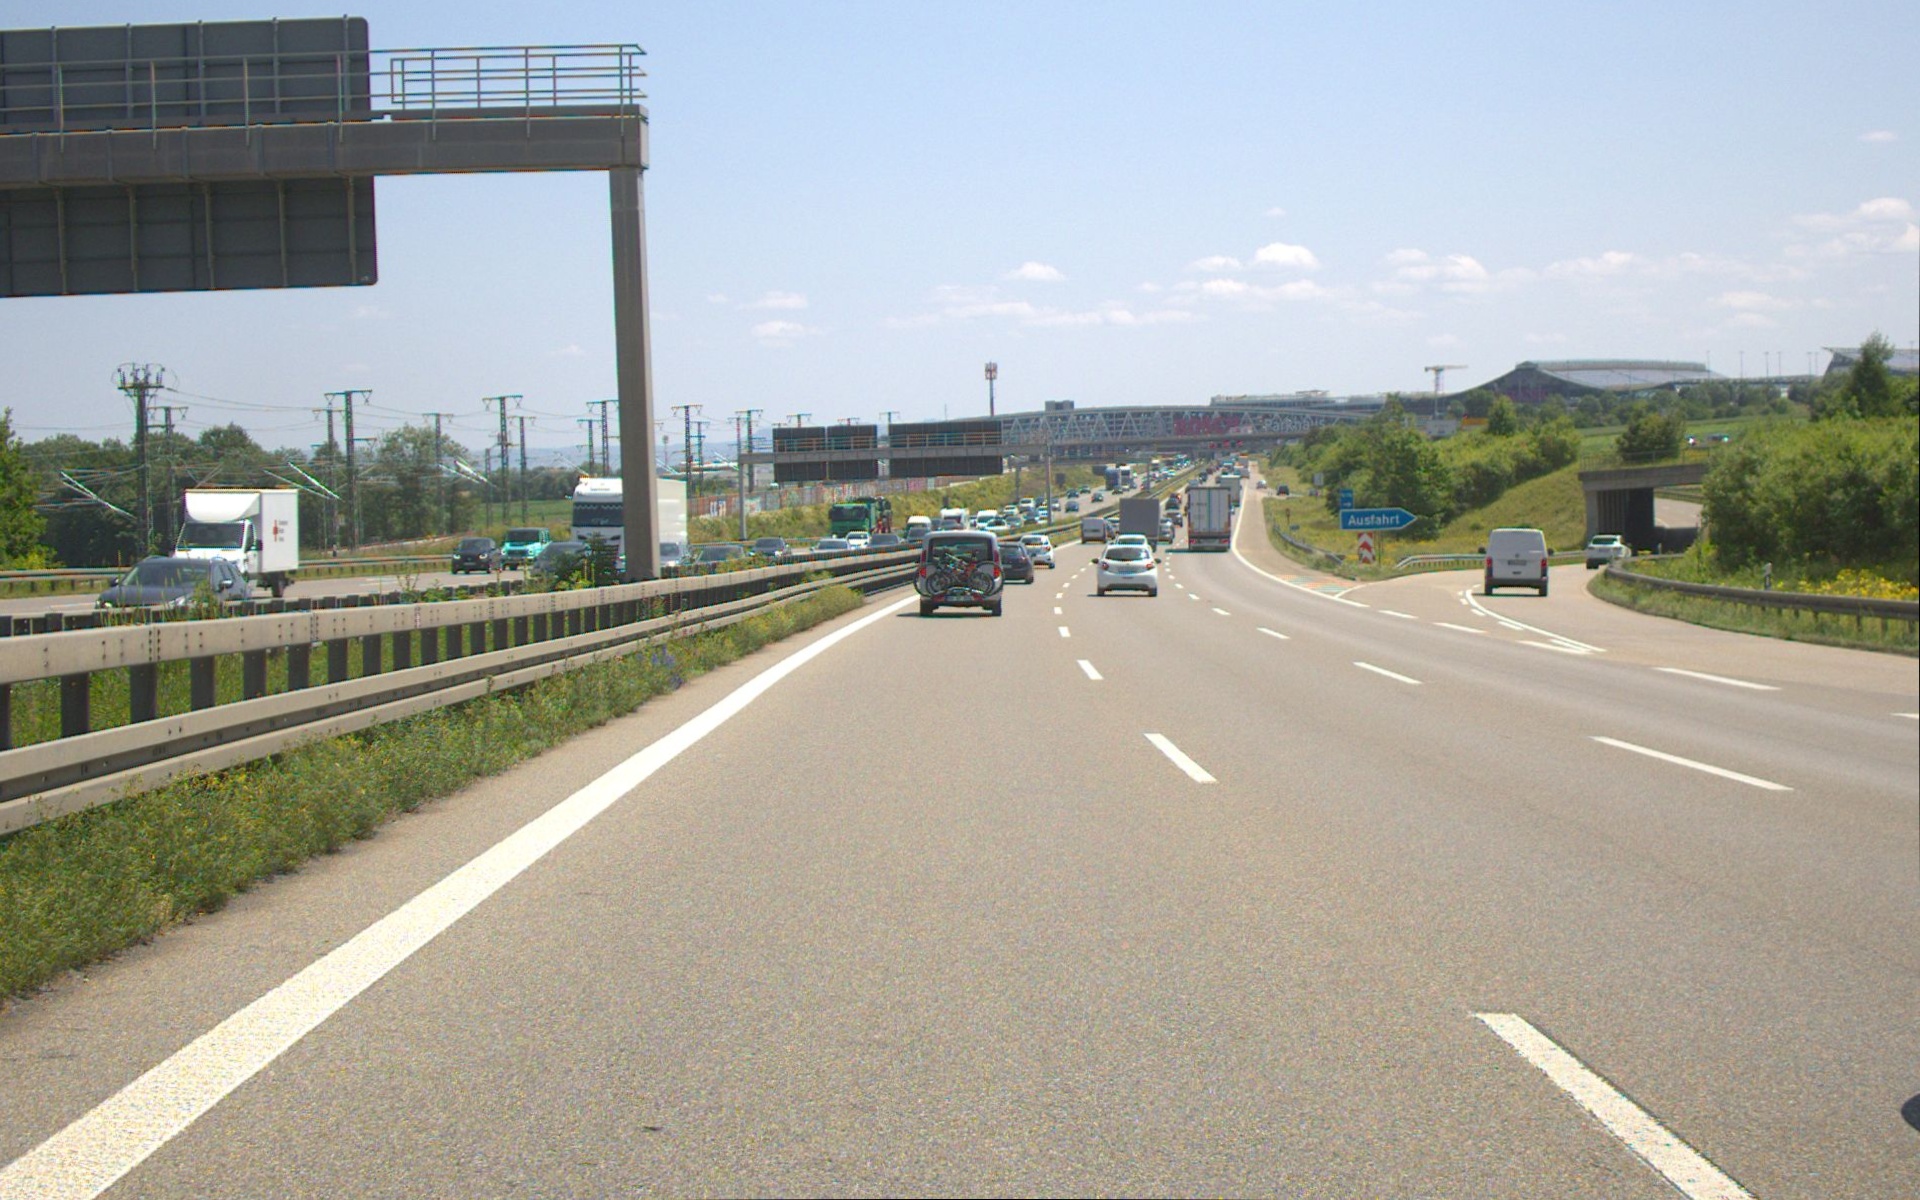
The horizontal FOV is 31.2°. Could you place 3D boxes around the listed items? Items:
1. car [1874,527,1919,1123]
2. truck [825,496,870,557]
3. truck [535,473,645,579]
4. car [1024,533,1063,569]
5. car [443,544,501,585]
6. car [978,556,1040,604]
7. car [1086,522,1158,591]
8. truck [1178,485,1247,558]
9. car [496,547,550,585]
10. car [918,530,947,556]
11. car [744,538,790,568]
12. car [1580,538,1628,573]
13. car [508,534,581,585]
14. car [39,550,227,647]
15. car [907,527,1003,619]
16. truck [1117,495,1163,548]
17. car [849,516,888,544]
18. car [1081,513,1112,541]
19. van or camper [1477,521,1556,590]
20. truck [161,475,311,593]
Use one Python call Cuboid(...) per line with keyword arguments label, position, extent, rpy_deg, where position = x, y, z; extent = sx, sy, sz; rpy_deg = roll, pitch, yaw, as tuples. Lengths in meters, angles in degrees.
Cuboid(label="car", position=(3.636, 0.631, 7.422), extent=(1.898, 1.641, 4.999), rpy_deg=(0, 0, -1))
Cuboid(label="truck", position=(-7.947, -5.162, 243.235), extent=(2.759, 4.230, 6.978), rpy_deg=(0, 0, 1))
Cuboid(label="truck", position=(-15.132, -3.029, 141.147), extent=(3.248, 4.195, 7.692), rpy_deg=(0, 1, 3))
Cuboid(label="car", position=(3.749, -2.197, 154.065), extent=(1.576, 1.547, 3.963), rpy_deg=(0, 0, 3))
Cuboid(label="car", position=(-21.116, -1.509, 148.959), extent=(1.805, 1.743, 4.000), rpy_deg=(0, 0, 2))
Cuboid(label="car", position=(1.695, -0.680, 117.930), extent=(1.927, 1.621, 4.517), rpy_deg=(0, 0, 3))
Cuboid(label="car", position=(4.576, -1.208, 97.692), extent=(1.926, 1.912, 4.517), rpy_deg=(0, 0, 1))
Cuboid(label="truck", position=(15.632, -4.934, 213.574), extent=(4.039, 4.247, 11.757), rpy_deg=(0, 3, 3))
Cuboid(label="car", position=(-20.370, -1.554, 160.368), extent=(1.805, 1.743, 4.000), rpy_deg=(0, 0, 2))
Cuboid(label="car", position=(-1.837, -3.815, 231.352), extent=(1.756, 1.735, 4.721), rpy_deg=(1, 1, 2))
Cuboid(label="car", position=(-9.460, -2.310, 168.919), extent=(1.841, 1.455, 4.997), rpy_deg=(0, 1, 2))
Cuboid(label="car", position=(32.771, -2.250, 174.941), extent=(1.995, 1.744, 3.997), rpy_deg=(0, 0, 17))
Cuboid(label="car", position=(-12.814, -1.270, 106.179), extent=(1.742, 1.555, 4.000), rpy_deg=(0, 1, 0))
Cuboid(label="car", position=(-13.131, -0.065, 54.883), extent=(1.790, 1.459, 4.859), rpy_deg=(0, 1, 0))
Cuboid(label="car", position=(-0.066, -0.566, 74.016), extent=(1.927, 1.912, 4.948), rpy_deg=(0, 0, 2))
Cuboid(label="truck", position=(11.058, -4.787, 211.335), extent=(2.703, 3.098, 10.658), rpy_deg=(0, 0, 3))
Cuboid(label="car", position=(-4.967, -3.819, 187.395), extent=(1.841, 1.455, 4.997), rpy_deg=(0, 1, 2))
Cuboid(label="car", position=(9.766, -5.203, 246.075), extent=(2.186, 1.996, 4.000), rpy_deg=(0, 1, 2))
Cuboid(label="van or camper", position=(16.655, -1.305, 102.785), extent=(2.157, 2.007, 4.302), rpy_deg=(0, 0, 12))
Cuboid(label="truck", position=(-20.070, -1.845, 95.727), extent=(2.320, 3.156, 8.113), rpy_deg=(0, 1, 1))
